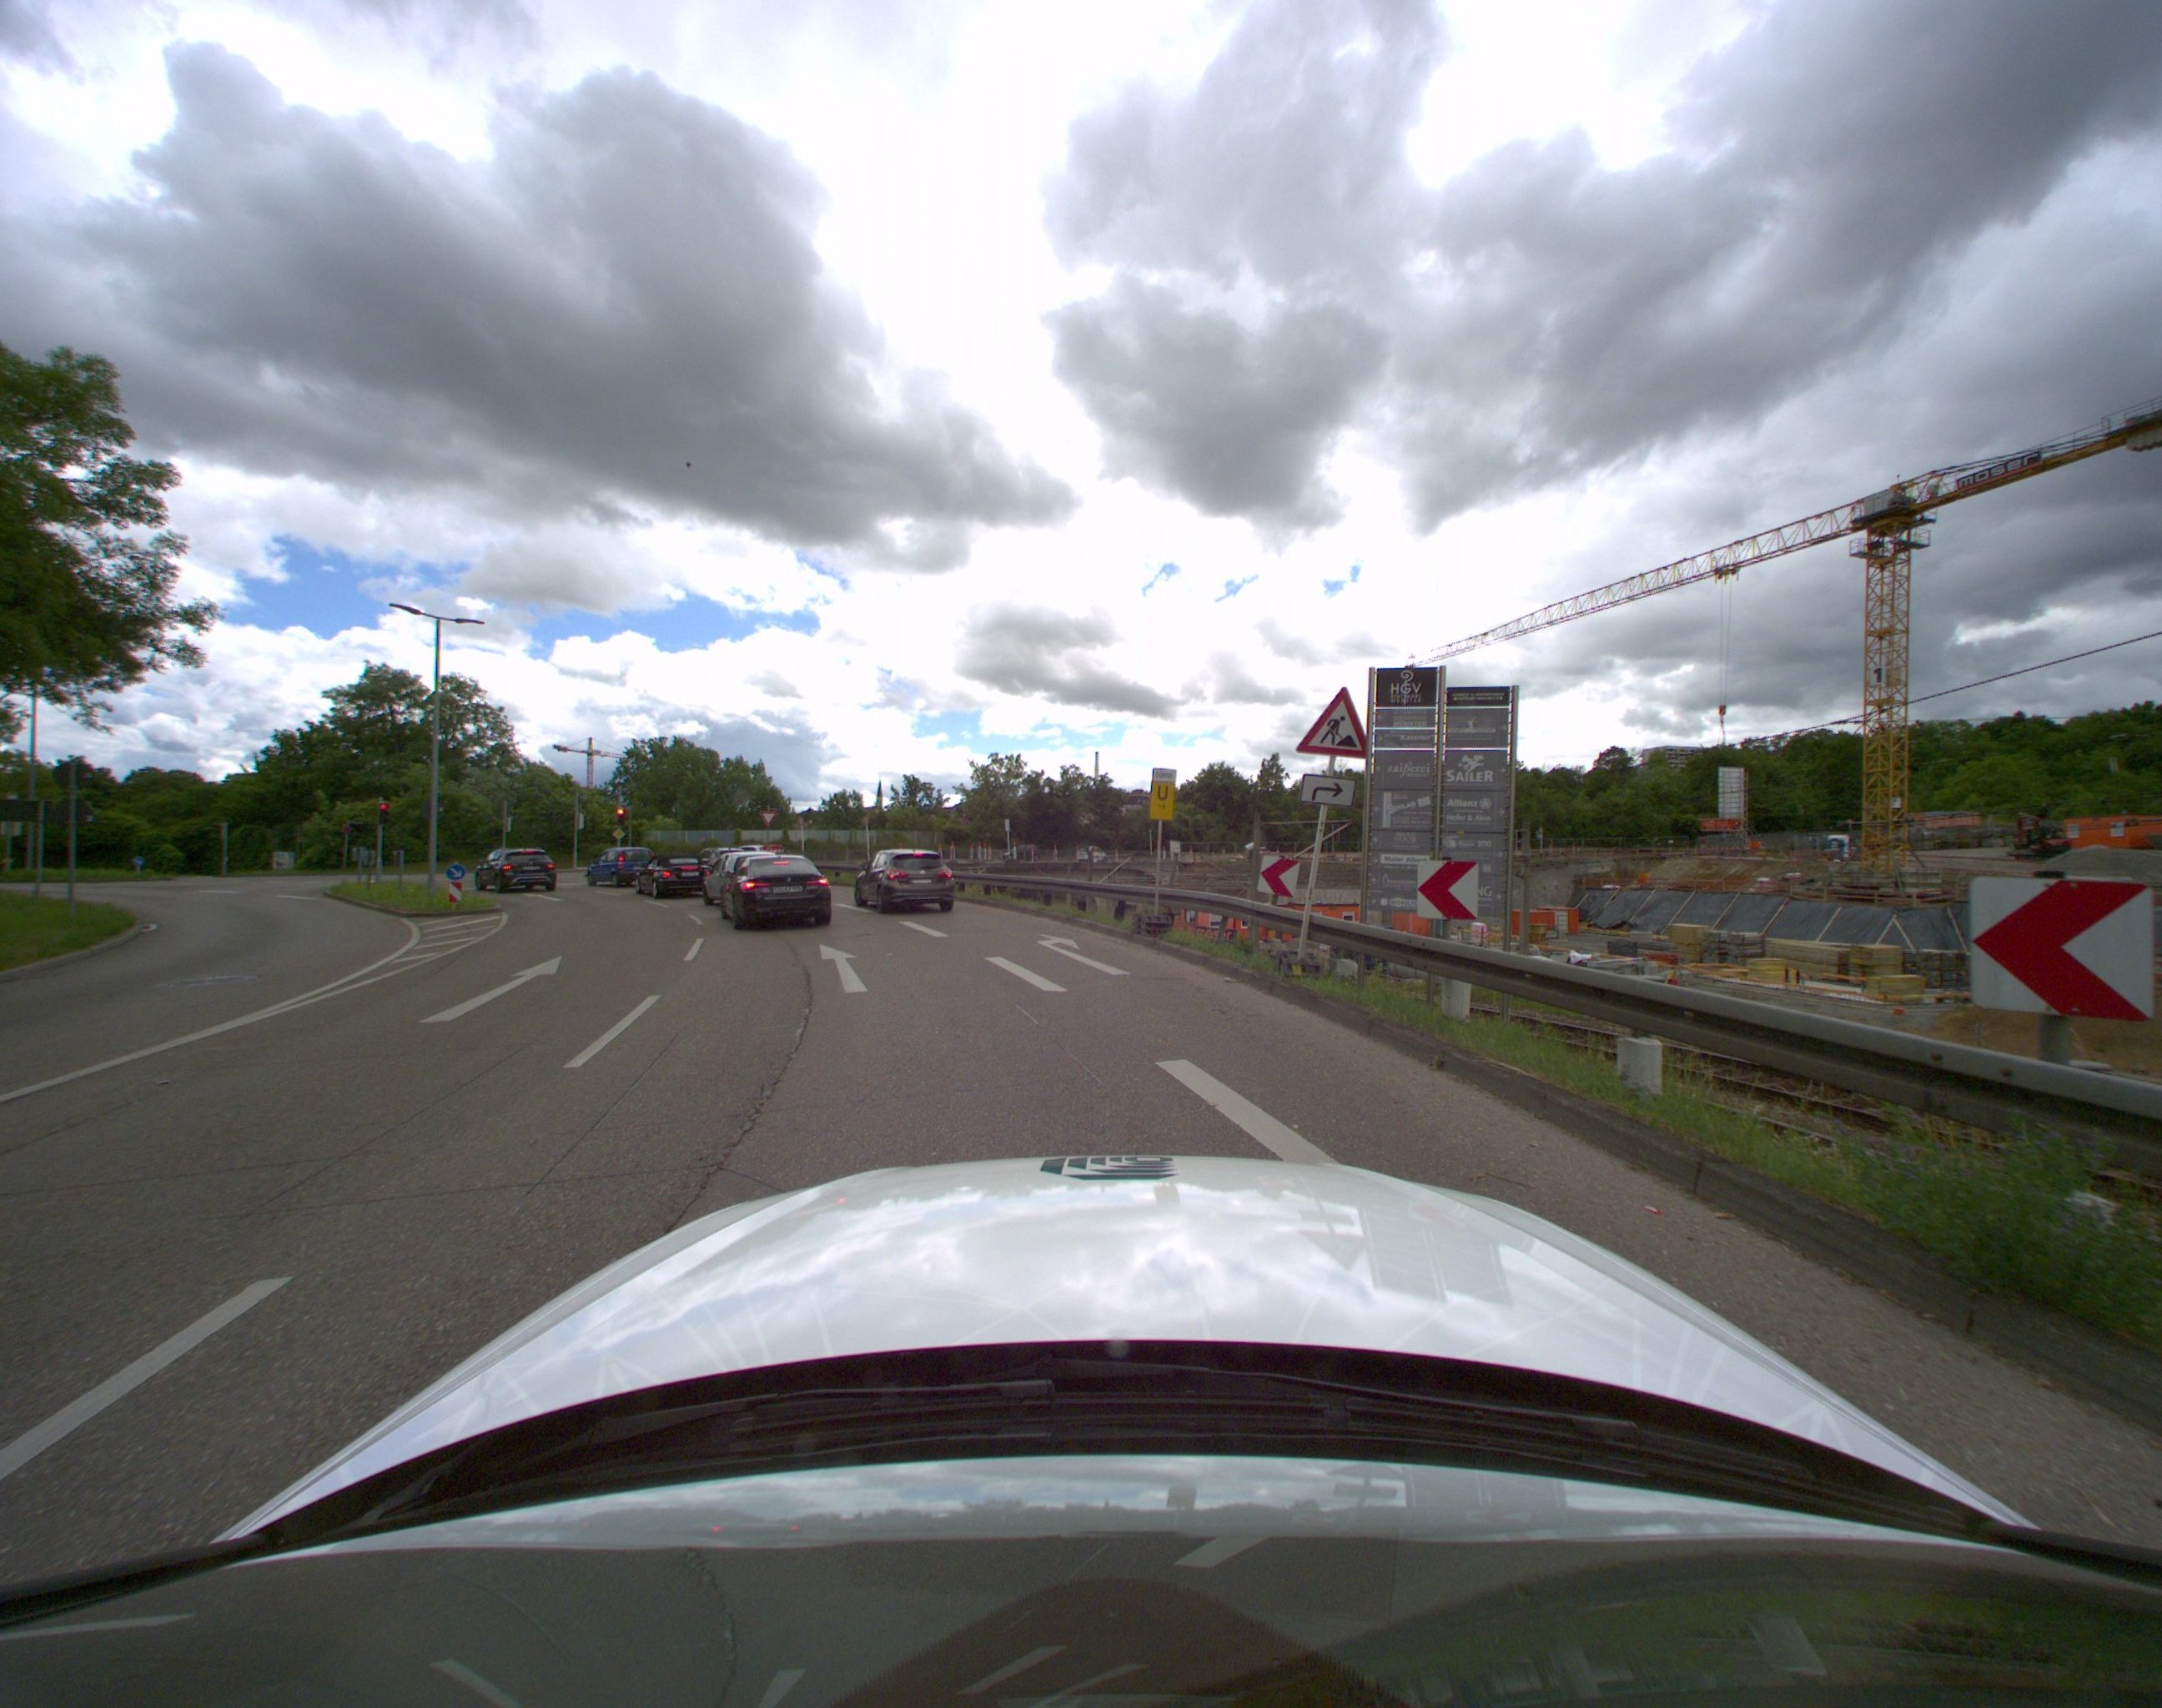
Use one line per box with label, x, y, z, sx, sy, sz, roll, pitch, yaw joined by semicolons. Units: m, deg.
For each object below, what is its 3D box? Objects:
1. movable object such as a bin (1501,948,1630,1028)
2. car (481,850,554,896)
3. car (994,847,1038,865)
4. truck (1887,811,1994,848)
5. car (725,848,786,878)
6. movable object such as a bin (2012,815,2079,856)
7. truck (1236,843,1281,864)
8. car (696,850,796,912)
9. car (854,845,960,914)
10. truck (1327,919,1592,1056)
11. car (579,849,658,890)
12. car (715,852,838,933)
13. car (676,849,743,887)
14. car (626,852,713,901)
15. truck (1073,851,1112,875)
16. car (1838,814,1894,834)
movable object such as a bin;21.841;5.978;36.993;3.035;2.749;4.278;0;2;-7
car;-20.665;0.645;29.822;1.671;1.507;3.724;-3;3;-42
car;-6.098;0.203;76.483;3.804;1.552;1.626;-1;-2;-35
truck;98.720;-2.779;93.588;9.744;4.220;3.115;0;0;-5
car;-18.935;0.549;47.564;1.704;1.675;4.004;0;-1;4
movable object such as a bin;75.914;-1.426;64.156;1.831;3.077;2.796;0;-2;-4
truck;18.250;-0.026;83.784;4.003;2.014;1.985;3;-1;-23
car;-9.288;0.681;22.462;1.681;1.469;3.588;-3;2;-36
car;-4.531;0.585;20.763;1.806;1.552;3.967;-1;0;-25
truck;15.933;5.384;35.902;2.850;3.893;11.529;1;1;-24
car;-18.259;0.583;32.140;3.337;1.507;1.558;0;1;38
car;-6.819;0.723;17.889;1.884;1.476;4.919;-2;1;-28
car;-16.110;0.553;35.262;1.834;1.552;3.745;0;0;-38
car;-13.595;0.685;26.789;1.577;1.368;4.035;-3;3;-41
truck;1.051;0.854;73.906;3.244;2.014;1.719;4;-2;-42
car;83.360;-3.173;86.506;3.975;2.014;1.999;0;-2;-1
